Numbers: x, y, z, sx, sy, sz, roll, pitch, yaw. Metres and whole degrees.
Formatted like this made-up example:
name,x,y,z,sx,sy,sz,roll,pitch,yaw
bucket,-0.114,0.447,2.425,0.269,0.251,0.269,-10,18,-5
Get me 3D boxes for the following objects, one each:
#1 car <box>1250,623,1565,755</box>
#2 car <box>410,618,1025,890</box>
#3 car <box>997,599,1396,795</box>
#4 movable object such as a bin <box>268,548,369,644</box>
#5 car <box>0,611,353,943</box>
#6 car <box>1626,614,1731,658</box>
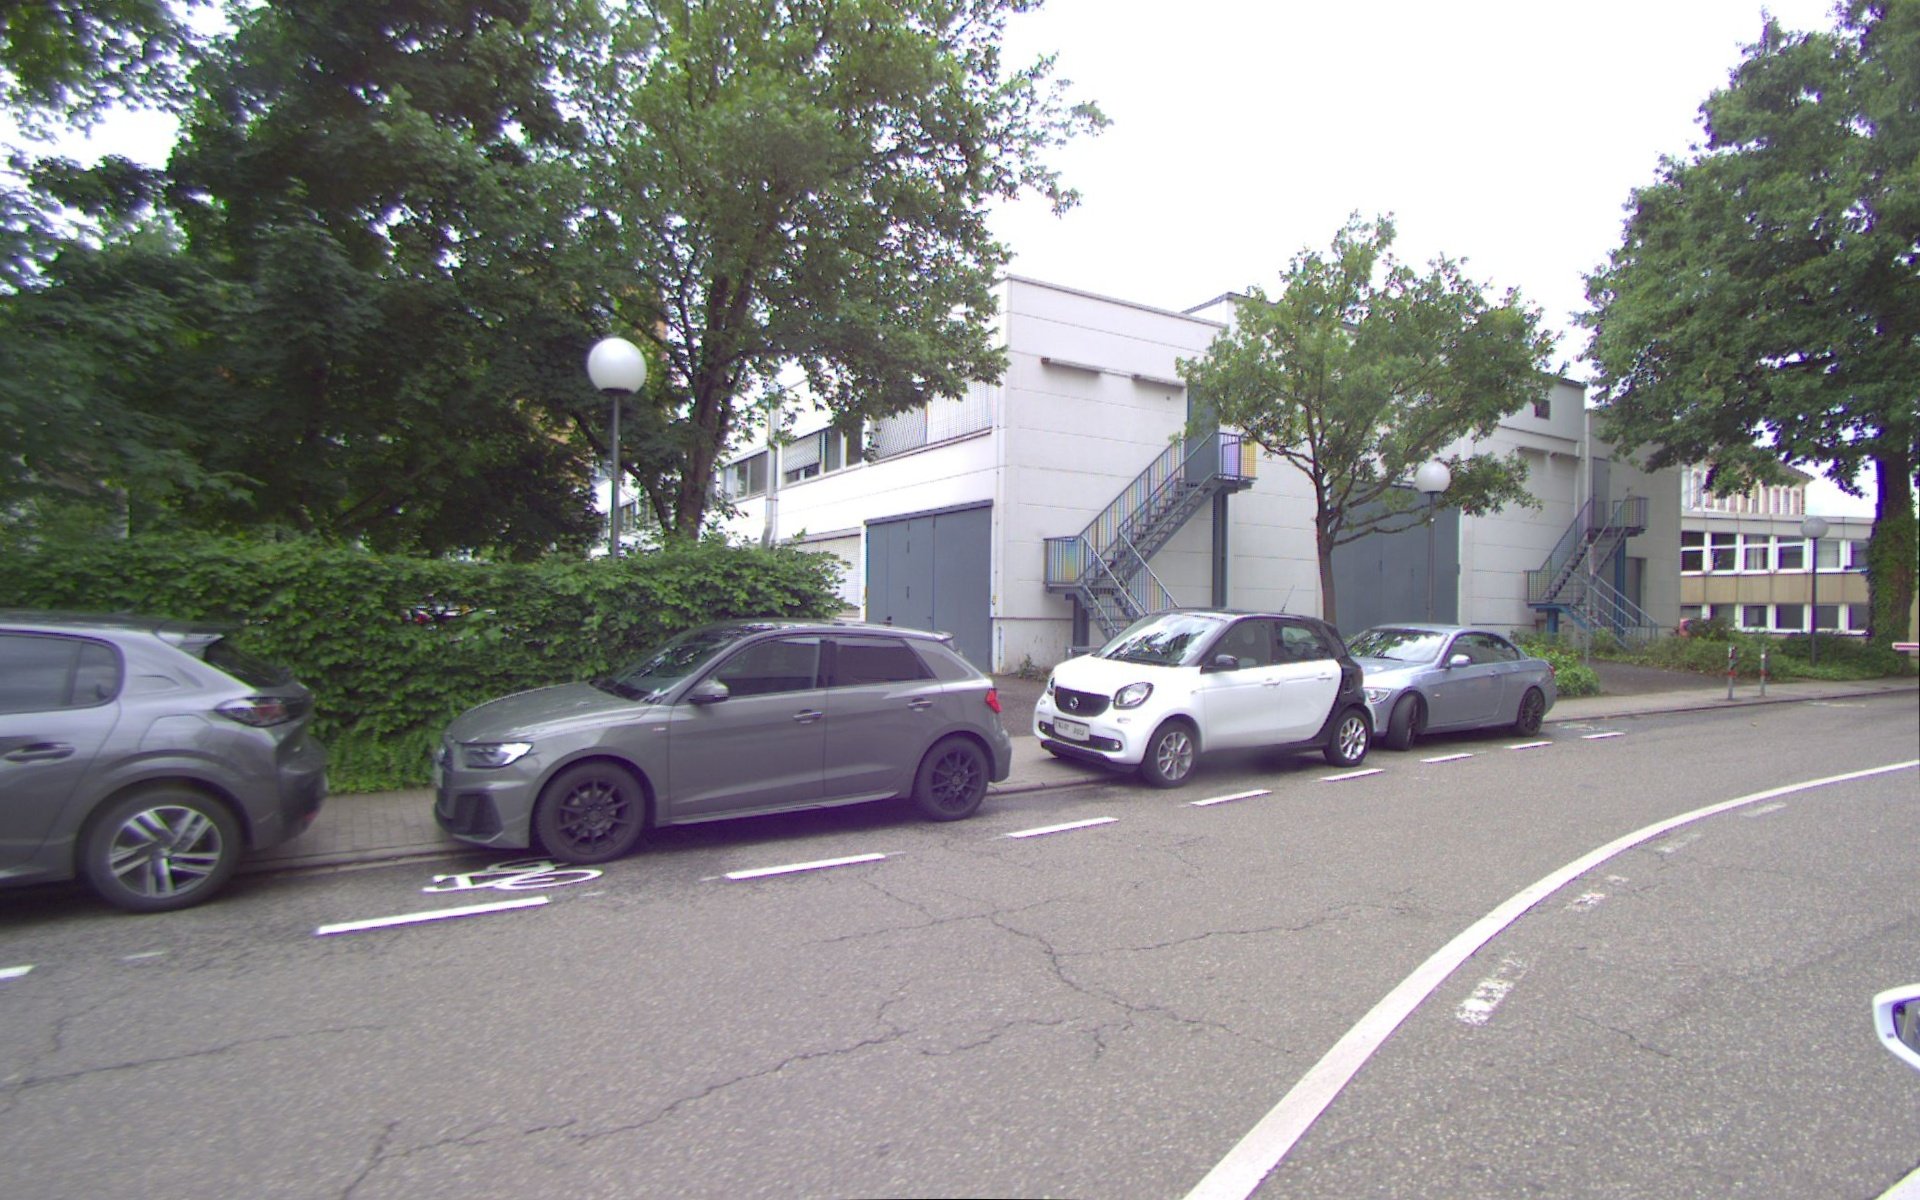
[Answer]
name,x,y,z,sx,sy,sz,roll,pitch,yaw
car,5.832,1.021,12.941,4.150,1.407,1.806,1,0,-34
car,-1.637,0.859,7.214,3.965,1.430,1.753,0,0,-33
car,2.421,0.804,10.021,3.835,1.607,1.706,0,0,-32
movable object such as a bin,-16.436,-0.020,25.681,1.979,2.200,4.627,1,-2,-34
car,-5.235,0.794,4.971,3.782,1.491,1.752,1,-1,-32
car,26.971,1.336,37.672,3.956,1.550,1.853,1,0,-32
